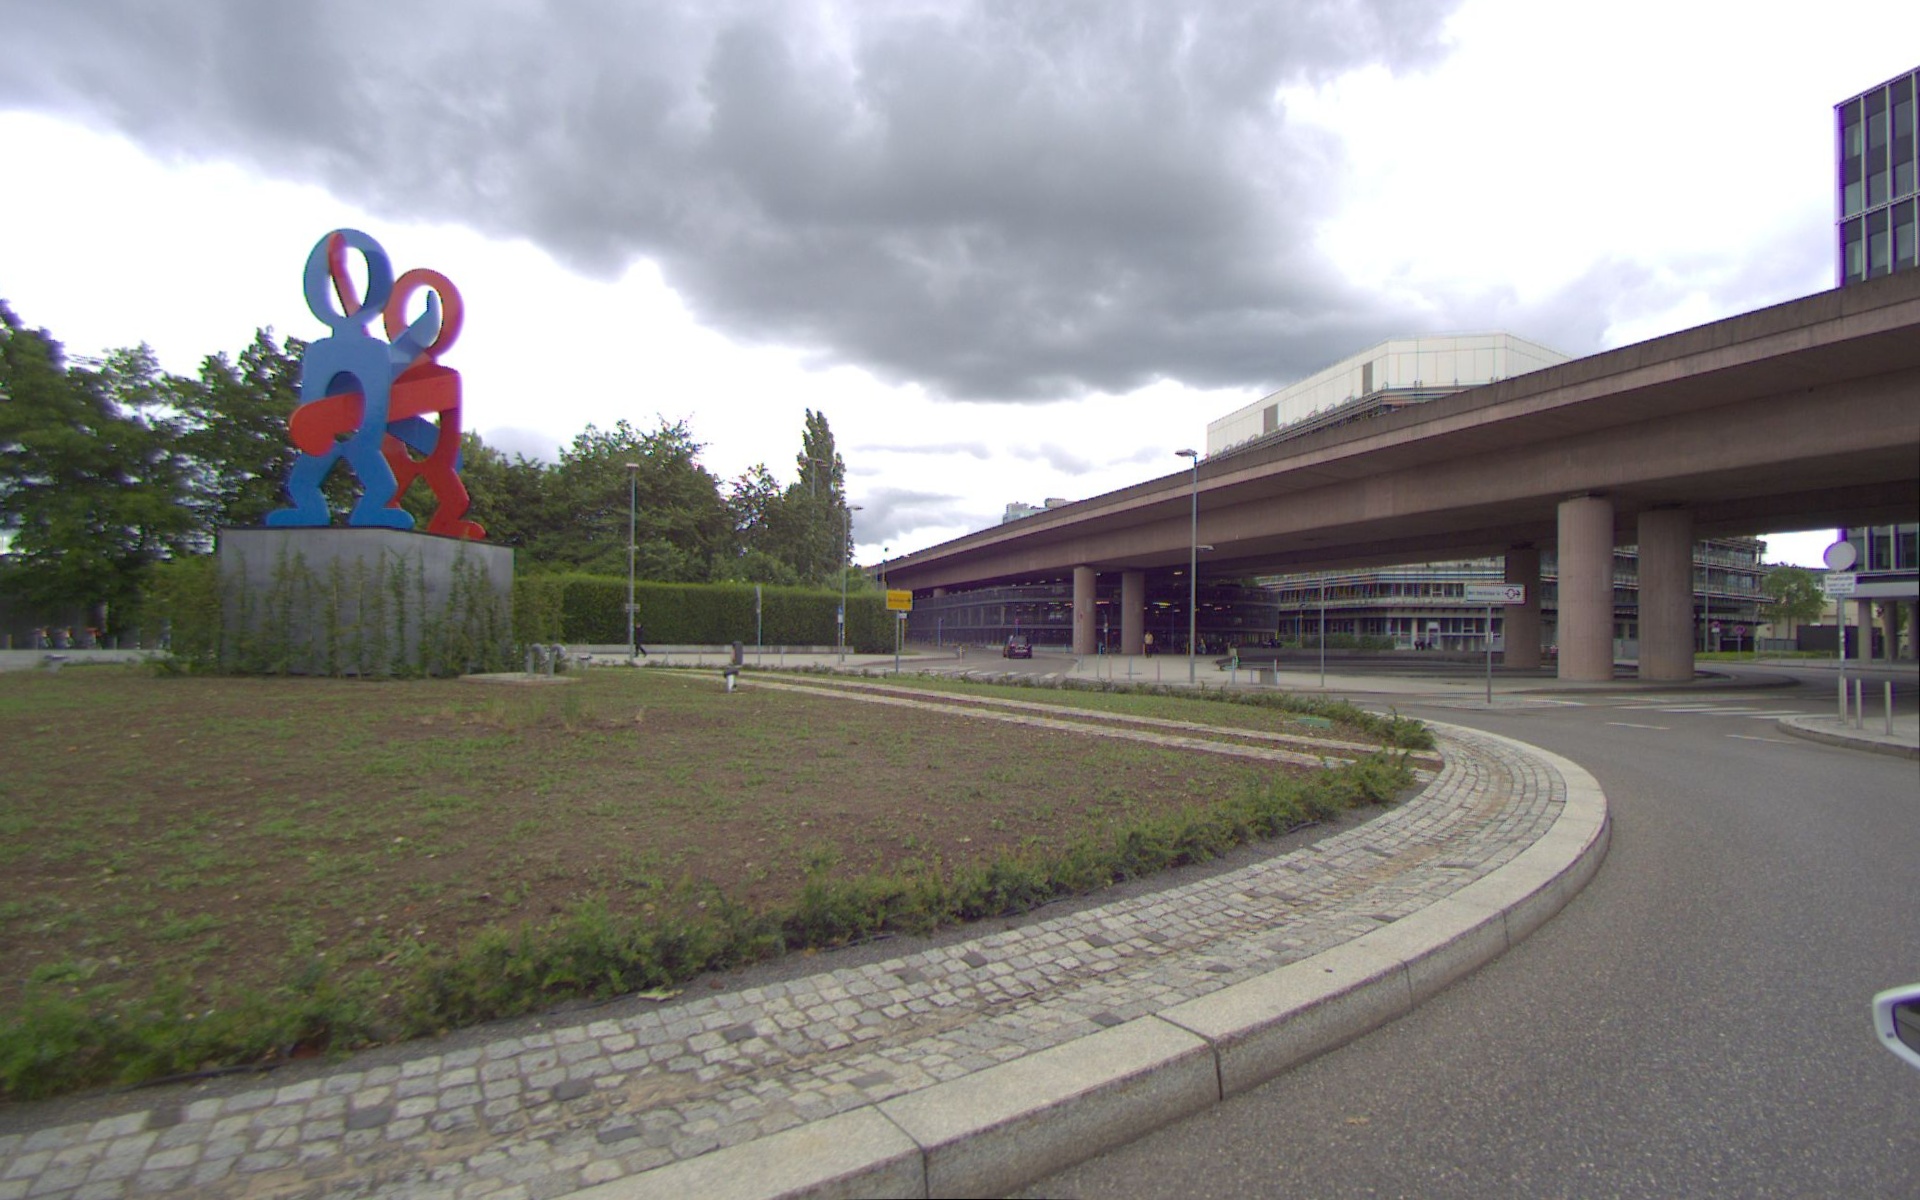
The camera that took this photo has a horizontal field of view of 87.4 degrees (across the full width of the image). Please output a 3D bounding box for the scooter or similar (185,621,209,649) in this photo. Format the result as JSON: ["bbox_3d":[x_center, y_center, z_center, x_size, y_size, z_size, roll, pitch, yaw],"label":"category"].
[{"bbox_3d":[-31.833,1.439,41.885,0.635,1.124,1.951,1,-1,-42],"label":"scooter or similar"}]

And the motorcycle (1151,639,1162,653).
[{"bbox_3d":[18.070,4.227,92.463,0.815,1.236,2.080,0,-1,7],"label":"motorcycle"}]

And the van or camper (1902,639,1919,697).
[{"bbox_3d":[34.272,2.294,33.937,4.839,1.918,2.139,1,-1,-28],"label":"van or camper"}]

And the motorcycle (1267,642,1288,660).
[{"bbox_3d":[24.146,3.869,76.370,1.923,1.281,0.542,1,-1,-37],"label":"motorcycle"}]

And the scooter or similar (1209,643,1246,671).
[{"bbox_3d":[12.726,2.699,47.763,1.617,1.313,0.518,1,0,0],"label":"scooter or similar"}]

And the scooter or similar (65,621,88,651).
[{"bbox_3d":[-34.598,1.381,39.323,0.635,1.124,1.951,1,-1,-42],"label":"scooter or similar"}]

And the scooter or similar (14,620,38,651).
[{"bbox_3d":[-35.652,1.355,38.358,0.635,1.124,1.951,1,-1,-42],"label":"scooter or similar"}]

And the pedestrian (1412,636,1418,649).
[{"bbox_3d":[51.357,4.778,113.293,0.490,1.501,0.541,0,-1,43],"label":"pedestrian"}]

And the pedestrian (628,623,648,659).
[{"bbox_3d":[-16.431,2.096,51.278,0.855,1.832,0.788,1,0,-27],"label":"pedestrian"}]

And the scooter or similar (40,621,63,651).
[{"bbox_3d":[-35.113,1.370,38.839,0.635,1.124,1.951,1,-1,-42],"label":"scooter or similar"}]

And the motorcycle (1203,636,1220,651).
[{"bbox_3d":[23.549,4.060,94.103,0.663,1.303,2.073,1,-1,-14],"label":"motorcycle"}]

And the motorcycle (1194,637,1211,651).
[{"bbox_3d":[22.599,4.093,93.802,0.663,1.236,2.073,1,-1,-14],"label":"motorcycle"}]

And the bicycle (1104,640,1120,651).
[{"bbox_3d":[14.417,4.335,95.131,1.447,0.989,0.452,0,0,11],"label":"bicycle"}]

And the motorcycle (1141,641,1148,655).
[{"bbox_3d":[16.853,4.364,91.722,0.511,1.236,1.151,0,-1,15],"label":"motorcycle"}]

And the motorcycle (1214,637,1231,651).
[{"bbox_3d":[24.727,4.103,94.581,0.663,1.236,2.072,1,-1,-15],"label":"motorcycle"}]

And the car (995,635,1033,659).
[{"bbox_3d":[4.089,3.563,76.408,1.815,1.734,3.694,1,-1,-15],"label":"car"}]

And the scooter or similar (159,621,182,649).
[{"bbox_3d":[-32.465,1.425,41.293,0.635,1.124,1.951,1,-1,-42],"label":"scooter or similar"}]

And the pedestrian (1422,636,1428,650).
[{"bbox_3d":[51.493,4.731,111.239,0.490,1.501,0.541,0,-1,43],"label":"pedestrian"}]

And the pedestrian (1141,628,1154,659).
[{"bbox_3d":[12.472,2.878,66.860,0.769,2.040,1.040,0,0,8],"label":"pedestrian"}]

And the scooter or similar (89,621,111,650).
[{"bbox_3d":[-34.082,1.393,39.804,0.635,1.124,1.951,1,-1,-42],"label":"scooter or similar"}]
